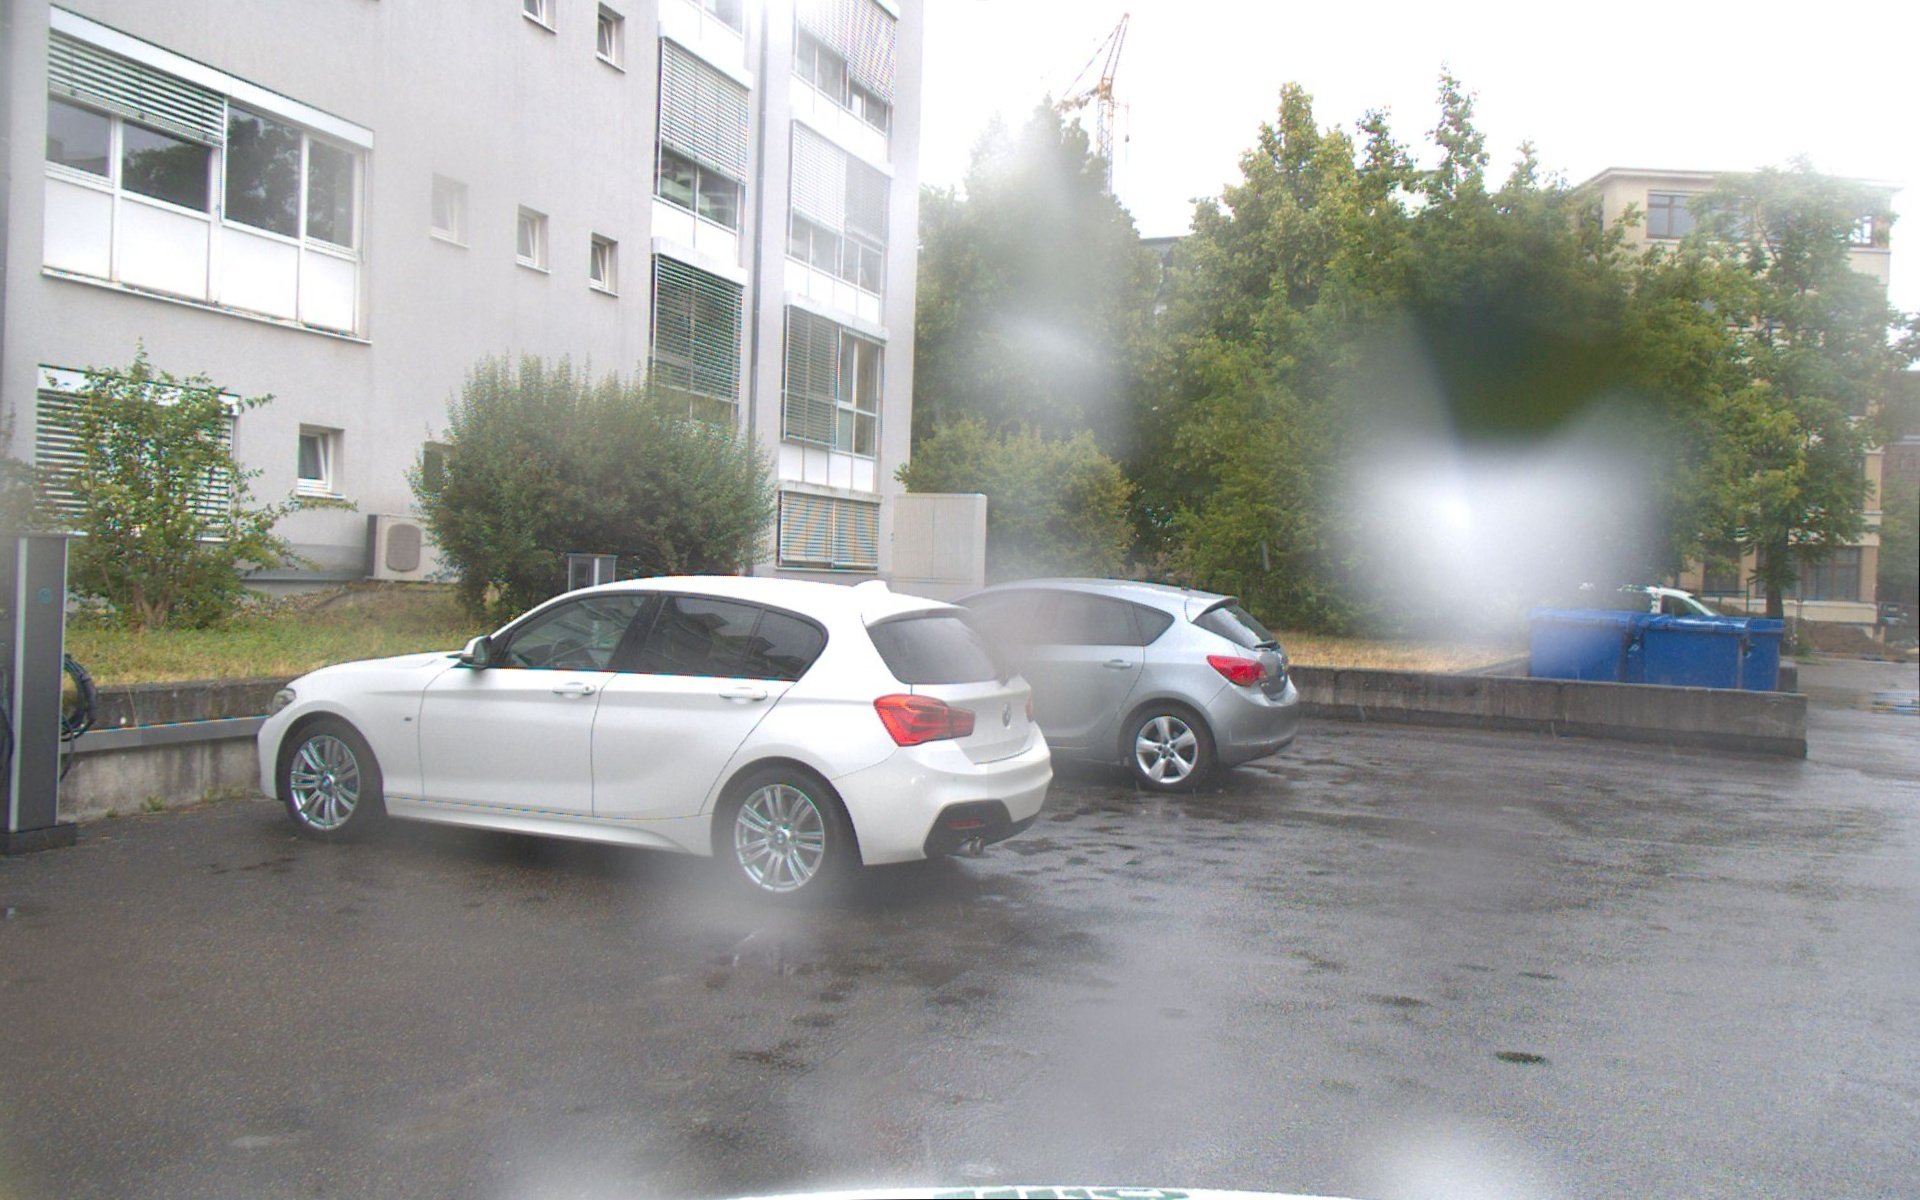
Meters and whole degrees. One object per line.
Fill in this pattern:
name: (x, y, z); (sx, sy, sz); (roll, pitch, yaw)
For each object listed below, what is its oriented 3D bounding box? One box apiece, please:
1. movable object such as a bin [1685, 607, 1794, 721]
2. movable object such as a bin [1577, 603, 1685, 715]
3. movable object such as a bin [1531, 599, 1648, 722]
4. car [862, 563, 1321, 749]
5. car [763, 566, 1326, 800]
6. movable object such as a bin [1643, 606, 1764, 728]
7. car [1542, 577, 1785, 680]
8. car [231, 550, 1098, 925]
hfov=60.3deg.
movable object such as a bin: (10.082, 0.805, 21.373); (1.198, 1.360, 1.005); (2, 1, 27)
movable object such as a bin: (8.886, 0.755, 21.885); (1.198, 1.360, 1.005); (2, 2, 27)
movable object such as a bin: (7.840, 0.725, 20.581); (1.180, 1.360, 1.115); (4, 3, 27)
car: (1.294, 0.469, 16.298); (4.083, 1.356, 1.822); (5, 3, 23)
car: (0.684, 0.550, 13.180); (4.081, 1.509, 1.822); (2, 2, 22)
movable object such as a bin: (9.002, 0.787, 20.005); (1.181, 1.360, 1.114); (2, 0, 31)
car: (15.287, 0.566, 35.976); (4.689, 2.049, 1.997); (2, 1, 28)
car: (-1.508, 0.562, 8.530); (4.055, 1.458, 1.753); (2, 0, 22)
